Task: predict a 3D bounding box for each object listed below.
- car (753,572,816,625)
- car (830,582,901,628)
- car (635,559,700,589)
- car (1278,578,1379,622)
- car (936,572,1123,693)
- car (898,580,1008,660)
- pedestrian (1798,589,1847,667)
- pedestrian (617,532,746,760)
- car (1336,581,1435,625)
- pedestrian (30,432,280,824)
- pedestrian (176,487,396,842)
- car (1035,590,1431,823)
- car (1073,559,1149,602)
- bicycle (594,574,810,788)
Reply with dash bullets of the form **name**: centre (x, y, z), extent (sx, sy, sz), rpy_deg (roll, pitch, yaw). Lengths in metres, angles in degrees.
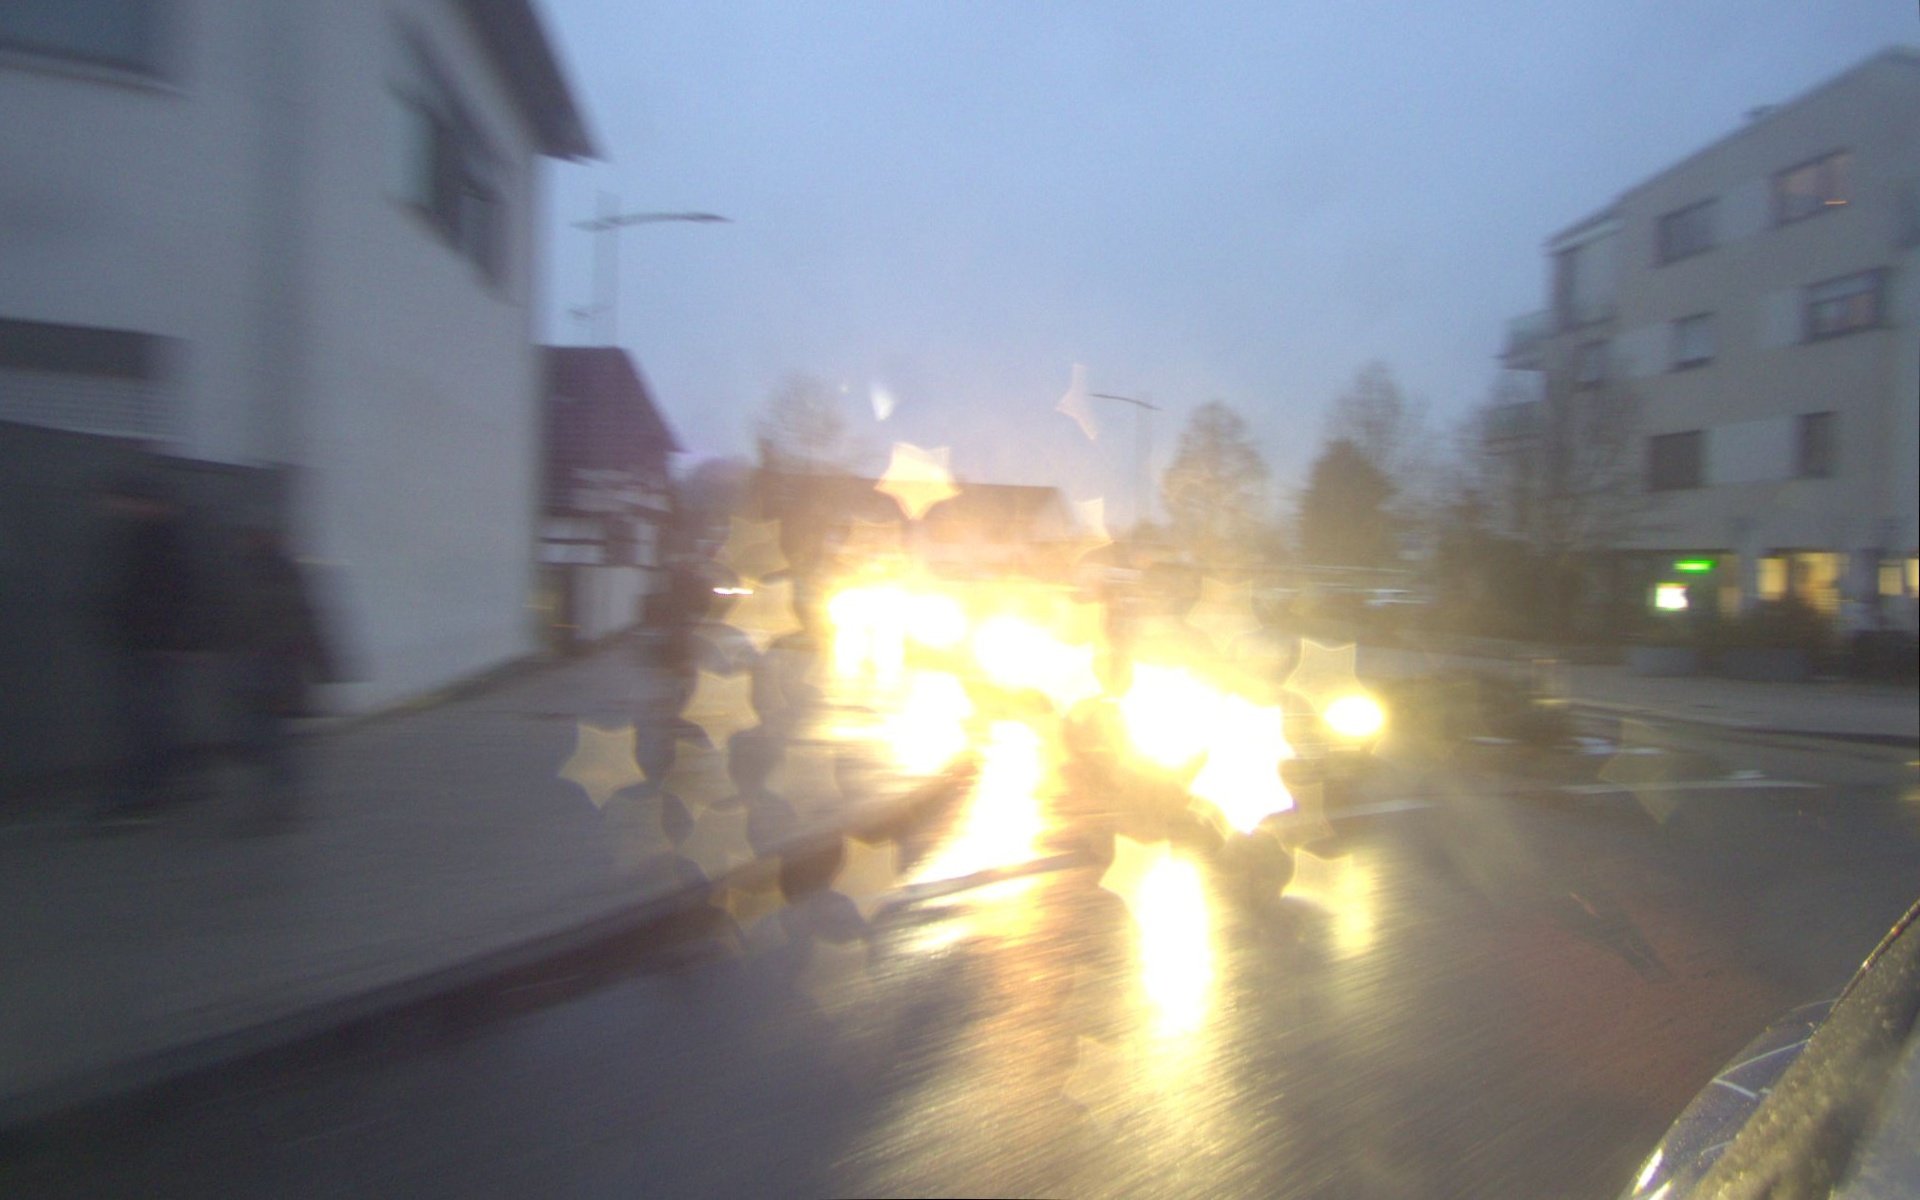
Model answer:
- **car**: centre (-5.638, -0.093, 32.242), extent (1.629, 1.548, 4.009), rpy_deg (1, 1, -14)
- **car**: centre (-3.439, 0.151, 36.263), extent (1.842, 1.471, 4.009), rpy_deg (2, 1, -15)
- **car**: centre (-21.626, -1.959, 74.722), extent (4.870, 2.037, 1.976), rpy_deg (2, 5, 36)
- **car**: centre (13.612, -0.035, 37.597), extent (1.679, 1.535, 3.775), rpy_deg (1, 1, -14)
- **car**: centre (0.896, 0.421, 15.386), extent (1.661, 1.571, 4.008), rpy_deg (0, 0, -14)
- **car**: centre (-0.254, 0.348, 21.919), extent (1.662, 1.527, 4.266), rpy_deg (0, 1, -10)
- **pedestrian**: centre (16.665, 0.530, 19.553), extent (0.541, 1.472, 0.453), rpy_deg (2, 1, -20)
- **pedestrian**: centre (-2.051, 0.313, 7.515), extent (0.601, 1.584, 0.688), rpy_deg (3, 1, 15)
- **car**: centre (16.112, 0.089, 38.503), extent (1.487, 1.492, 3.452), rpy_deg (2, 1, -19)
- **pedestrian**: centre (-4.120, 0.127, 5.233), extent (0.626, 1.854, 0.717), rpy_deg (4, 1, 2)
- **pedestrian**: centre (-3.366, 0.297, 5.111), extent (0.571, 1.641, 0.717), rpy_deg (2, 1, 2)
- **car**: centre (1.935, 0.658, 8.631), extent (1.813, 1.401, 4.241), rpy_deg (-1, 1, -6)
- **car**: centre (7.709, -0.998, 52.198), extent (2.168, 2.039, 4.869), rpy_deg (1, 1, -14)
- **bicycle**: centre (-1.785, 0.494, 7.350), extent (0.544, 1.311, 1.932), rpy_deg (4, 1, 17)
